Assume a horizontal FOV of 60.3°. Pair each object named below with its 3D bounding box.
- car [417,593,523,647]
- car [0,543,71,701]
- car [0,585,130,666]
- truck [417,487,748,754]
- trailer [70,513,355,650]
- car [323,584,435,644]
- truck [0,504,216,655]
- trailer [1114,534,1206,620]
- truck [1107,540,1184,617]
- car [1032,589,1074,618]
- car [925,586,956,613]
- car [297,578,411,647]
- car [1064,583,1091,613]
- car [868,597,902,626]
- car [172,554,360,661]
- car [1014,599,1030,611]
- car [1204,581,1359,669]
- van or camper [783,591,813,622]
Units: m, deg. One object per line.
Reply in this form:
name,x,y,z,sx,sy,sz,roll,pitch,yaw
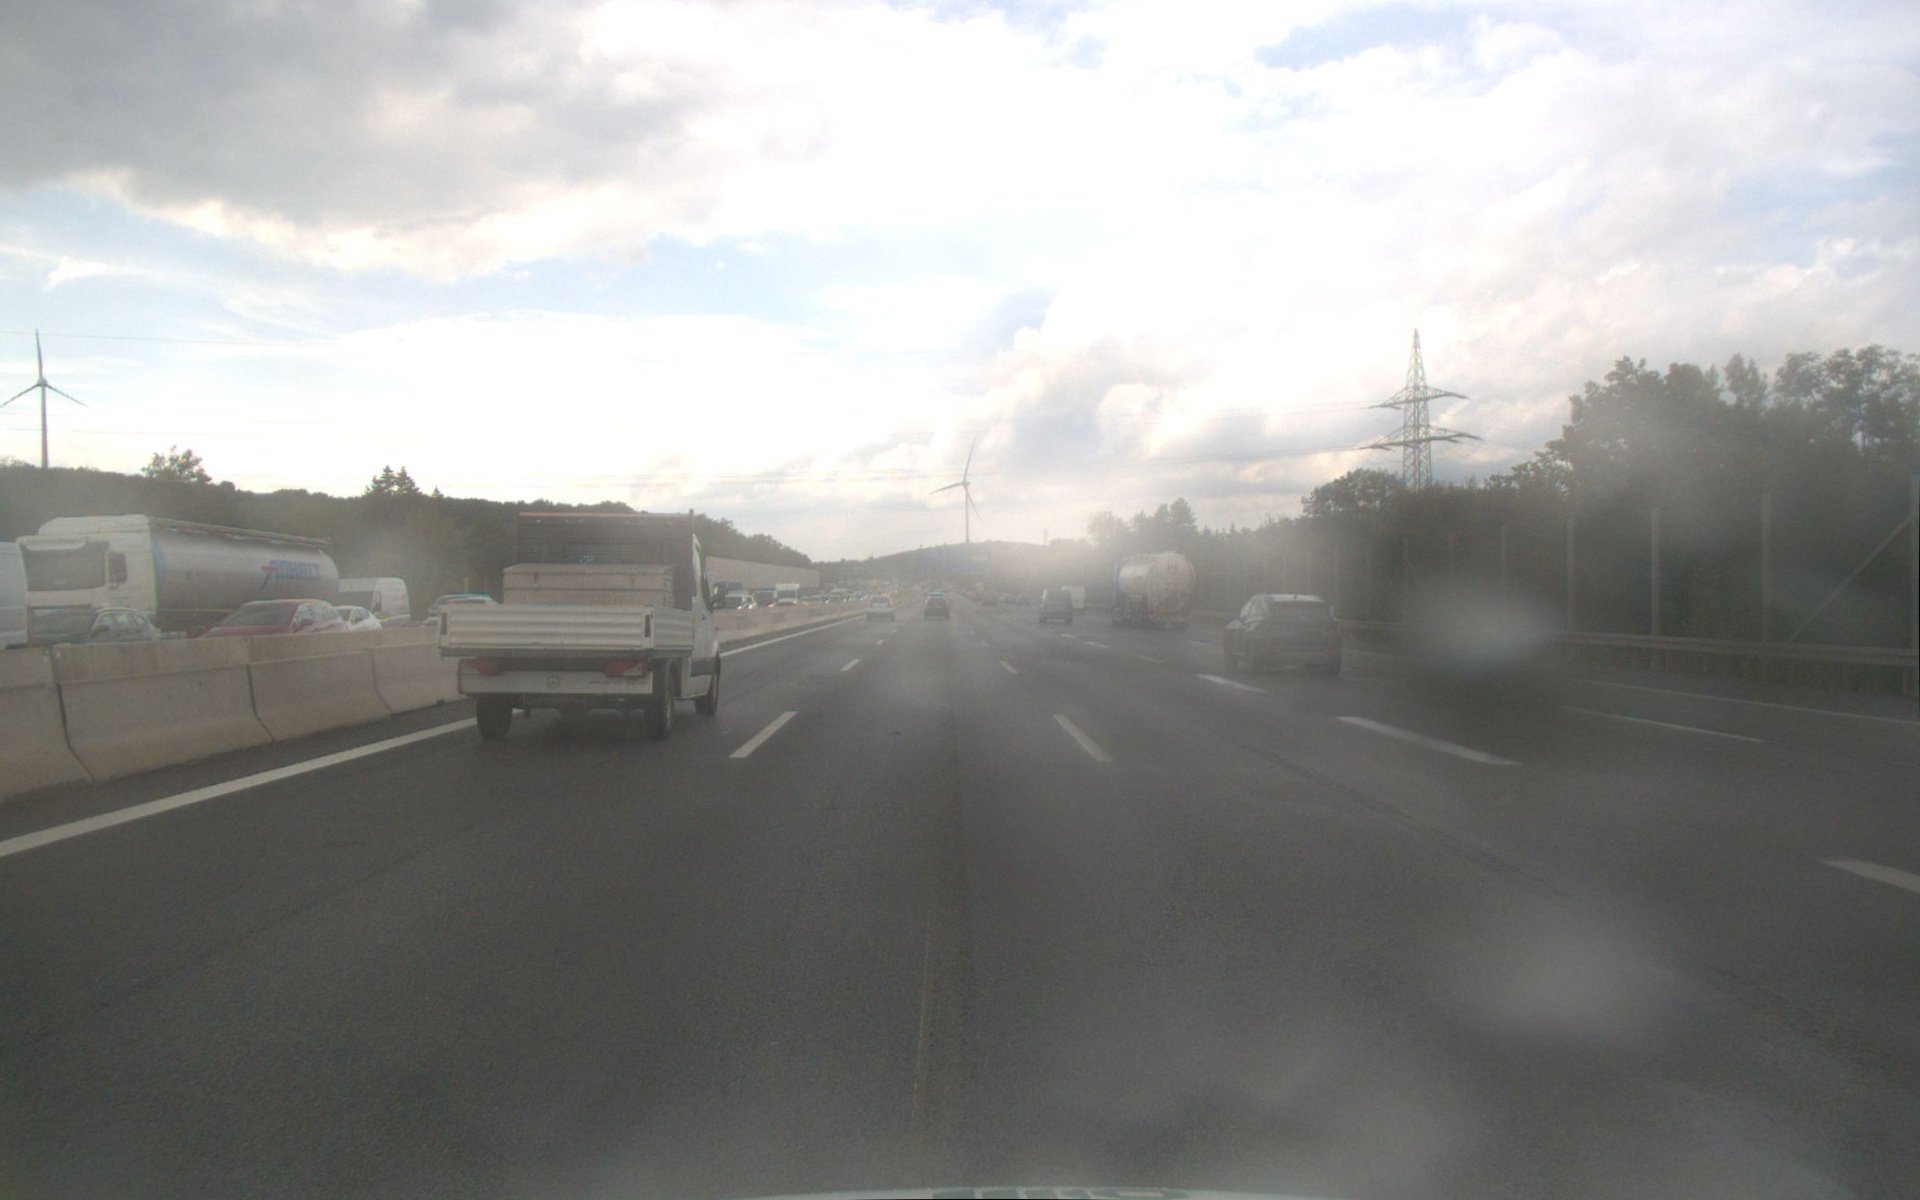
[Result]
car,-14.502,0.574,49.242,1.729,1.510,4.971,0,0,-1
car,-13.249,0.275,19.956,2.052,2.003,5.630,1,0,-1
car,-18.712,0.493,33.394,1.763,1.529,4.351,0,0,-1
truck,-3.985,0.172,19.090,2.305,2.450,7.355,1,0,-2
trailer,-22.216,-0.514,50.463,2.655,3.588,13.607,1,0,-1
car,-22.562,0.530,64.507,2.073,2.187,6.617,1,0,-1
truck,-22.120,-0.507,42.839,2.673,3.575,6.798,1,0,-1
trailer,10.479,-1.148,87.832,3.265,4.249,11.836,1,0,-1
truck,10.413,-1.159,93.715,3.265,4.151,8.270,1,0,-1
car,5.641,0.203,100.659,2.056,1.729,3.997,0,0,-4
car,-1.309,-0.052,111.816,2.003,1.729,4.000,0,0,-1
car,-18.591,0.355,50.968,1.691,2.003,5.042,1,0,-1
car,10.208,-0.183,144.369,2.003,2.541,3.999,0,0,-1
car,-4.660,0.706,102.908,2.003,1.729,3.999,0,0,-1
car,-13.982,0.140,33.654,1.825,2.003,4.805,1,0,-1
car,8.735,0.715,233.891,1.953,1.780,4.496,1,0,-1
car,6.719,0.487,35.113,2.005,1.729,5.003,1,0,-4
van or camper,-14.905,0.569,152.521,2.134,2.752,7.519,1,0,-1
